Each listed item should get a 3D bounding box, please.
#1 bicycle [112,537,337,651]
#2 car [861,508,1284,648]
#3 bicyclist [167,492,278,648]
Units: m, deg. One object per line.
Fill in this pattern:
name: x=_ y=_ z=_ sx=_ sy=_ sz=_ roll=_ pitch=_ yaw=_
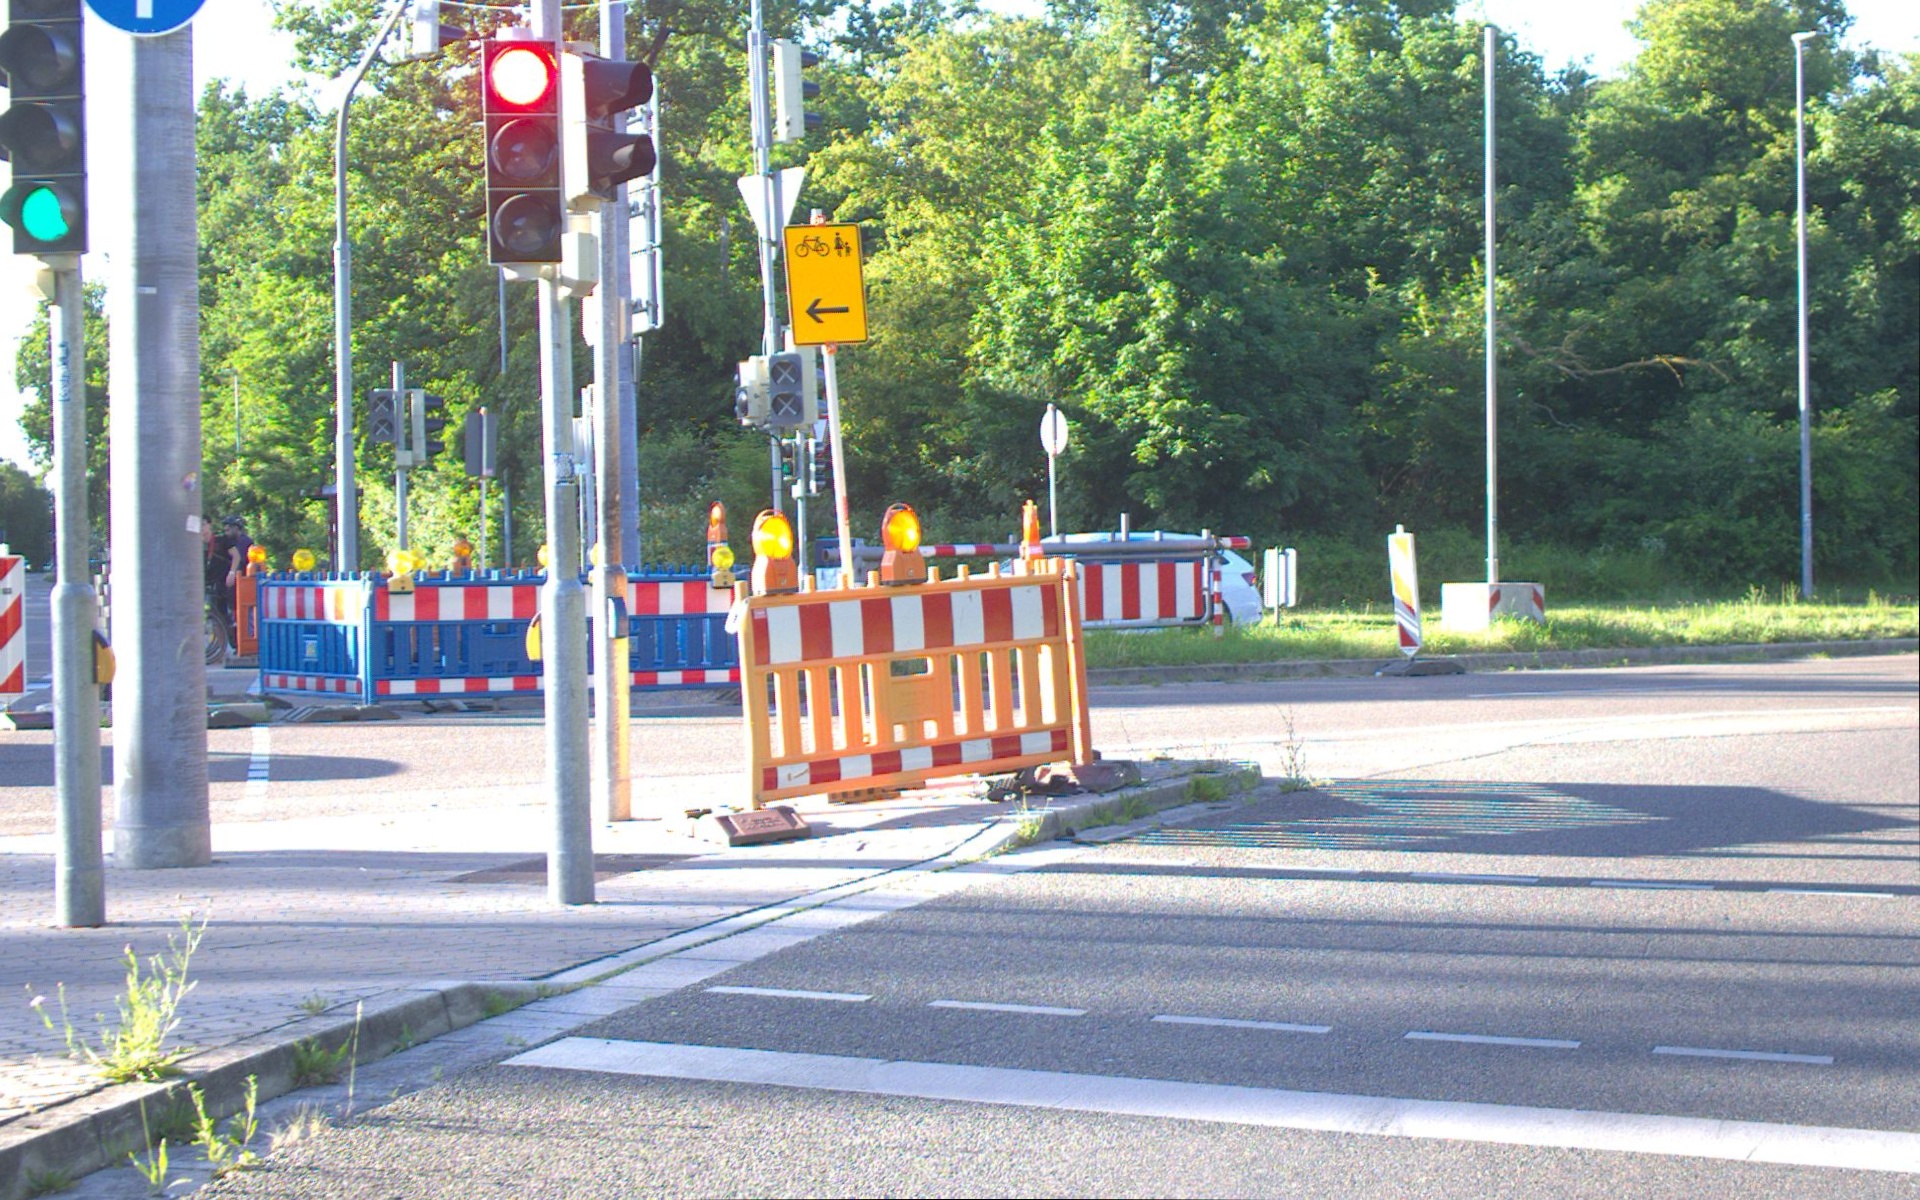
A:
bicycle: x=-9.217 y=-0.090 z=43.167 sx=2.633 sy=1.378 sz=0.968 roll=-1 pitch=1 yaw=-43
car: x=1.394 y=-0.297 z=41.722 sx=4.818 sy=1.575 sz=2.000 roll=-2 pitch=1 yaw=-32
bicyclist: x=-9.253 y=-0.384 z=43.138 sx=1.013 sy=1.923 sz=0.968 roll=-1 pitch=1 yaw=-43
